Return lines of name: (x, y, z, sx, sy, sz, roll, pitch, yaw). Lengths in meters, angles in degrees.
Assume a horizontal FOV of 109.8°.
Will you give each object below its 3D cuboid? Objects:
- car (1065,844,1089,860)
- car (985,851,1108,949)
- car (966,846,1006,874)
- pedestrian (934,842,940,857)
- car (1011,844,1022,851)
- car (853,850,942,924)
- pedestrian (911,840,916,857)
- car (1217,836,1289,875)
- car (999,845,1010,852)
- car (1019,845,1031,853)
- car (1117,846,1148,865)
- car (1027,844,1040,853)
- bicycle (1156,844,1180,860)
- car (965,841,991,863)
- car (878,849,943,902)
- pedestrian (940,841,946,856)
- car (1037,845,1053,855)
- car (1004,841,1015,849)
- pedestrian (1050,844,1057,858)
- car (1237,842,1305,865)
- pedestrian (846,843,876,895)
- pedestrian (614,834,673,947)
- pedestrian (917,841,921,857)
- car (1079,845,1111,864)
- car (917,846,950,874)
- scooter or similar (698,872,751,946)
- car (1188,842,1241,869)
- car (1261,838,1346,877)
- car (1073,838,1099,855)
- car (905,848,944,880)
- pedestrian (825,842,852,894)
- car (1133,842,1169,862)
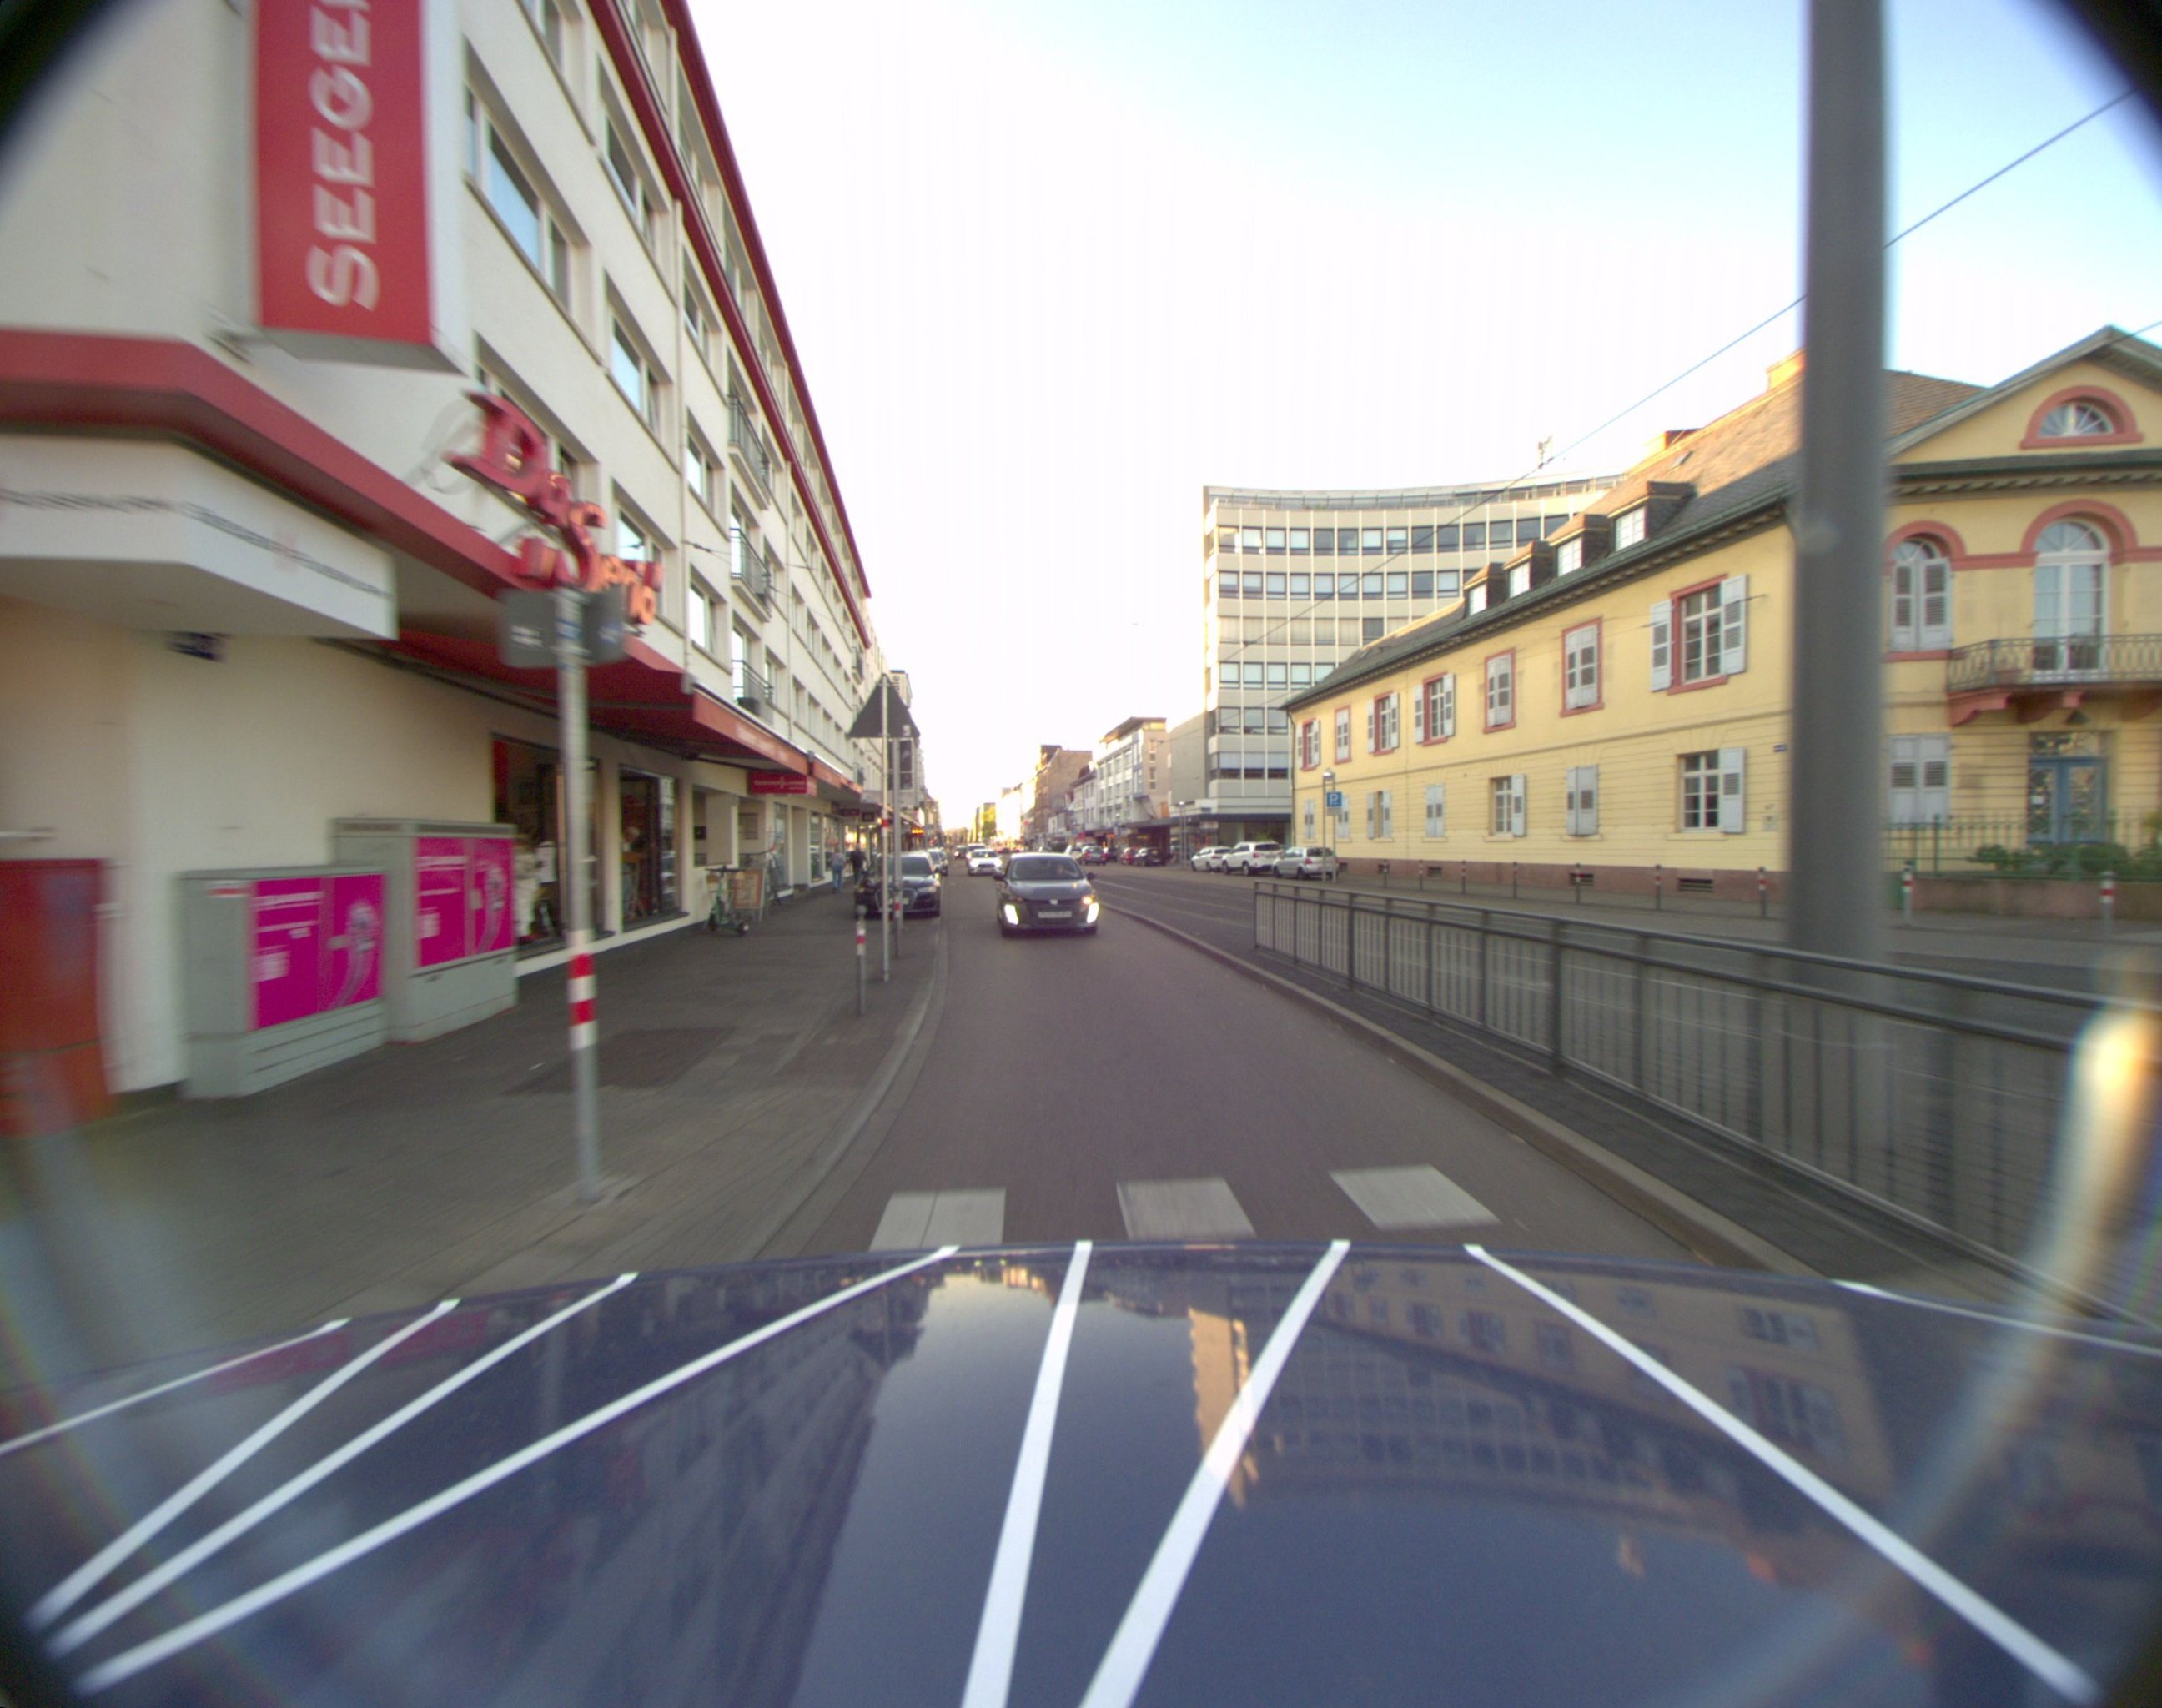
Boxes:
car: (-0.431, -0.229, 74.626, 1.812, 1.503, 4.031, 1, 1, -9)
car: (-0.823, 0.747, 14.788, 1.734, 1.513, 4.328, -2, 1, -11)
car: (-5.440, 0.291, 43.034, 2.000, 1.450, 3.995, -1, 1, -10)
pedestrian: (-16.866, -0.553, 89.027, 0.610, 1.743, 0.604, -1, 1, -10)
car: (-14.795, -1.506, 174.543, 2.000, 1.543, 3.996, -1, 1, -10)
car: (-4.279, 0.690, 18.338, 1.741, 1.503, 4.680, 1, 1, -9)
pedestrian: (-19.665, -0.644, 89.269, 0.453, 1.888, 0.421, -1, 1, -10)
car: (8.698, 0.046, 38.908, 1.819, 1.775, 4.492, -3, 2, -12)
car: (-16.808, -1.287, 167.291, 2.000, 1.543, 3.996, -1, 1, -10)
car: (-11.399, -0.999, 153.397, 2.000, 1.543, 4.202, -1, 1, -10)
car: (4.300, 0.092, 64.019, 1.691, 1.503, 4.210, 2, 0, -9)
car: (-8.885, -1.040, 141.553, 2.000, 1.543, 3.996, -1, 1, -10)
bicycle: (7.812, -0.214, 68.167, 1.975, 1.417, 0.833, 0, 1, -11)
car: (-8.860, -0.218, 65.081, 2.000, 1.805, 3.995, -1, 1, -11)
car: (-5.322, 0.628, 24.170, 1.791, 1.503, 4.047, 1, 1, -10)
pedestrian: (-16.186, -0.612, 89.164, 0.606, 1.717, 0.645, -1, 1, -10)
car: (-5.773, -0.685, 121.360, 2.000, 1.536, 4.873, -2, 1, -9)
car: (-14.995, -1.856, 159.095, 2.000, 1.543, 3.996, -1, 1, -10)
pedestrian: (-3.959, -0.395, 108.804, 0.823, 2.002, 0.712, 0, 1, 6)
car: (12.648, -0.071, 50.651, 4.000, 1.458, 1.844, -1, 1, -8)
pedestrian: (-7.325, 0.489, 25.327, 0.829, 1.708, 0.842, 1, 1, -10)
pedestrian: (-6.952, 0.560, 12.089, 0.525, 1.750, 0.605, 0, 2, 36)
pedestrian: (-18.837, -0.606, 88.482, 0.456, 1.888, 0.421, -1, 1, -10)
car: (1.162, 0.053, 63.404, 1.741, 1.503, 4.029, -1, 1, -13)
car: (-8.610, 0.304, 44.309, 1.796, 1.503, 4.706, 1, 1, -11)
scooter or similar: (-6.236, 0.937, 13.266, 1.245, 1.195, 0.357, 0, 2, 42)
car: (7.854, 0.075, 45.150, 1.818, 1.503, 4.428, 0, 1, -8)
car: (9.815, 0.103, 33.865, 1.819, 1.608, 4.209, -1, 1, -12)
car: (0.550, -0.871, 87.468, 1.962, 1.966, 5.157, -1, 1, -11)
car: (-7.775, 0.458, 38.138, 1.741, 1.503, 4.299, 1, 1, -9)
pedestrian: (-8.200, 0.466, 25.736, 0.731, 1.731, 0.862, 1, 1, -10)
car: (5.379, -0.182, 58.932, 1.691, 1.503, 4.210, -1, 1, -9)
